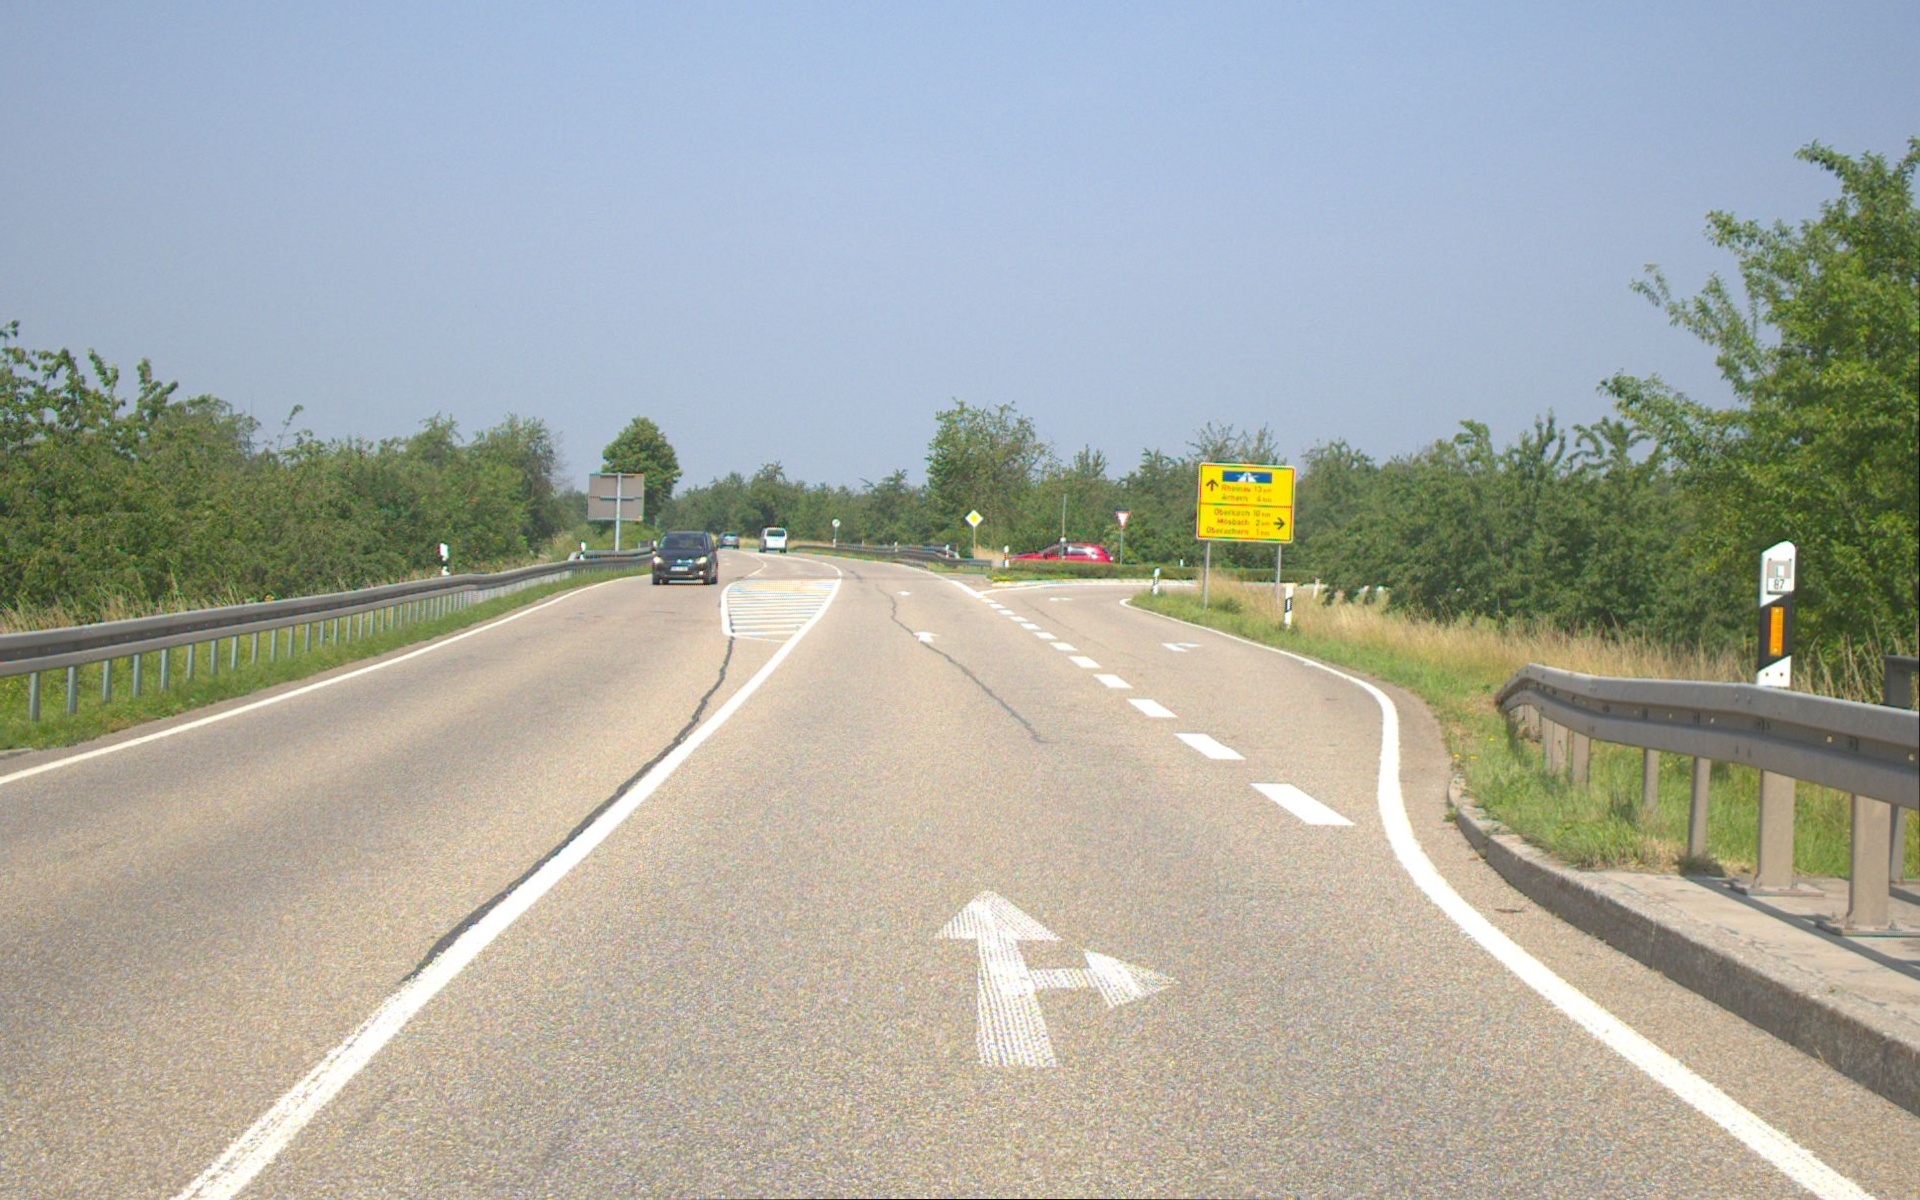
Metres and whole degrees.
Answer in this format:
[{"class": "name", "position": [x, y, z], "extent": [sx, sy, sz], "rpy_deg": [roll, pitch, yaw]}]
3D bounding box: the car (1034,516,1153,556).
[{"class": "car", "position": [5.126, -2.471, 132.103], "extent": [4.480, 1.444, 1.822], "rpy_deg": [1, 1, 0]}]

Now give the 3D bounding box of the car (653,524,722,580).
[{"class": "car", "position": [-8.344, -1.487, 105.553], "extent": [1.803, 1.632, 4.810], "rpy_deg": [1, 1, -1]}]
